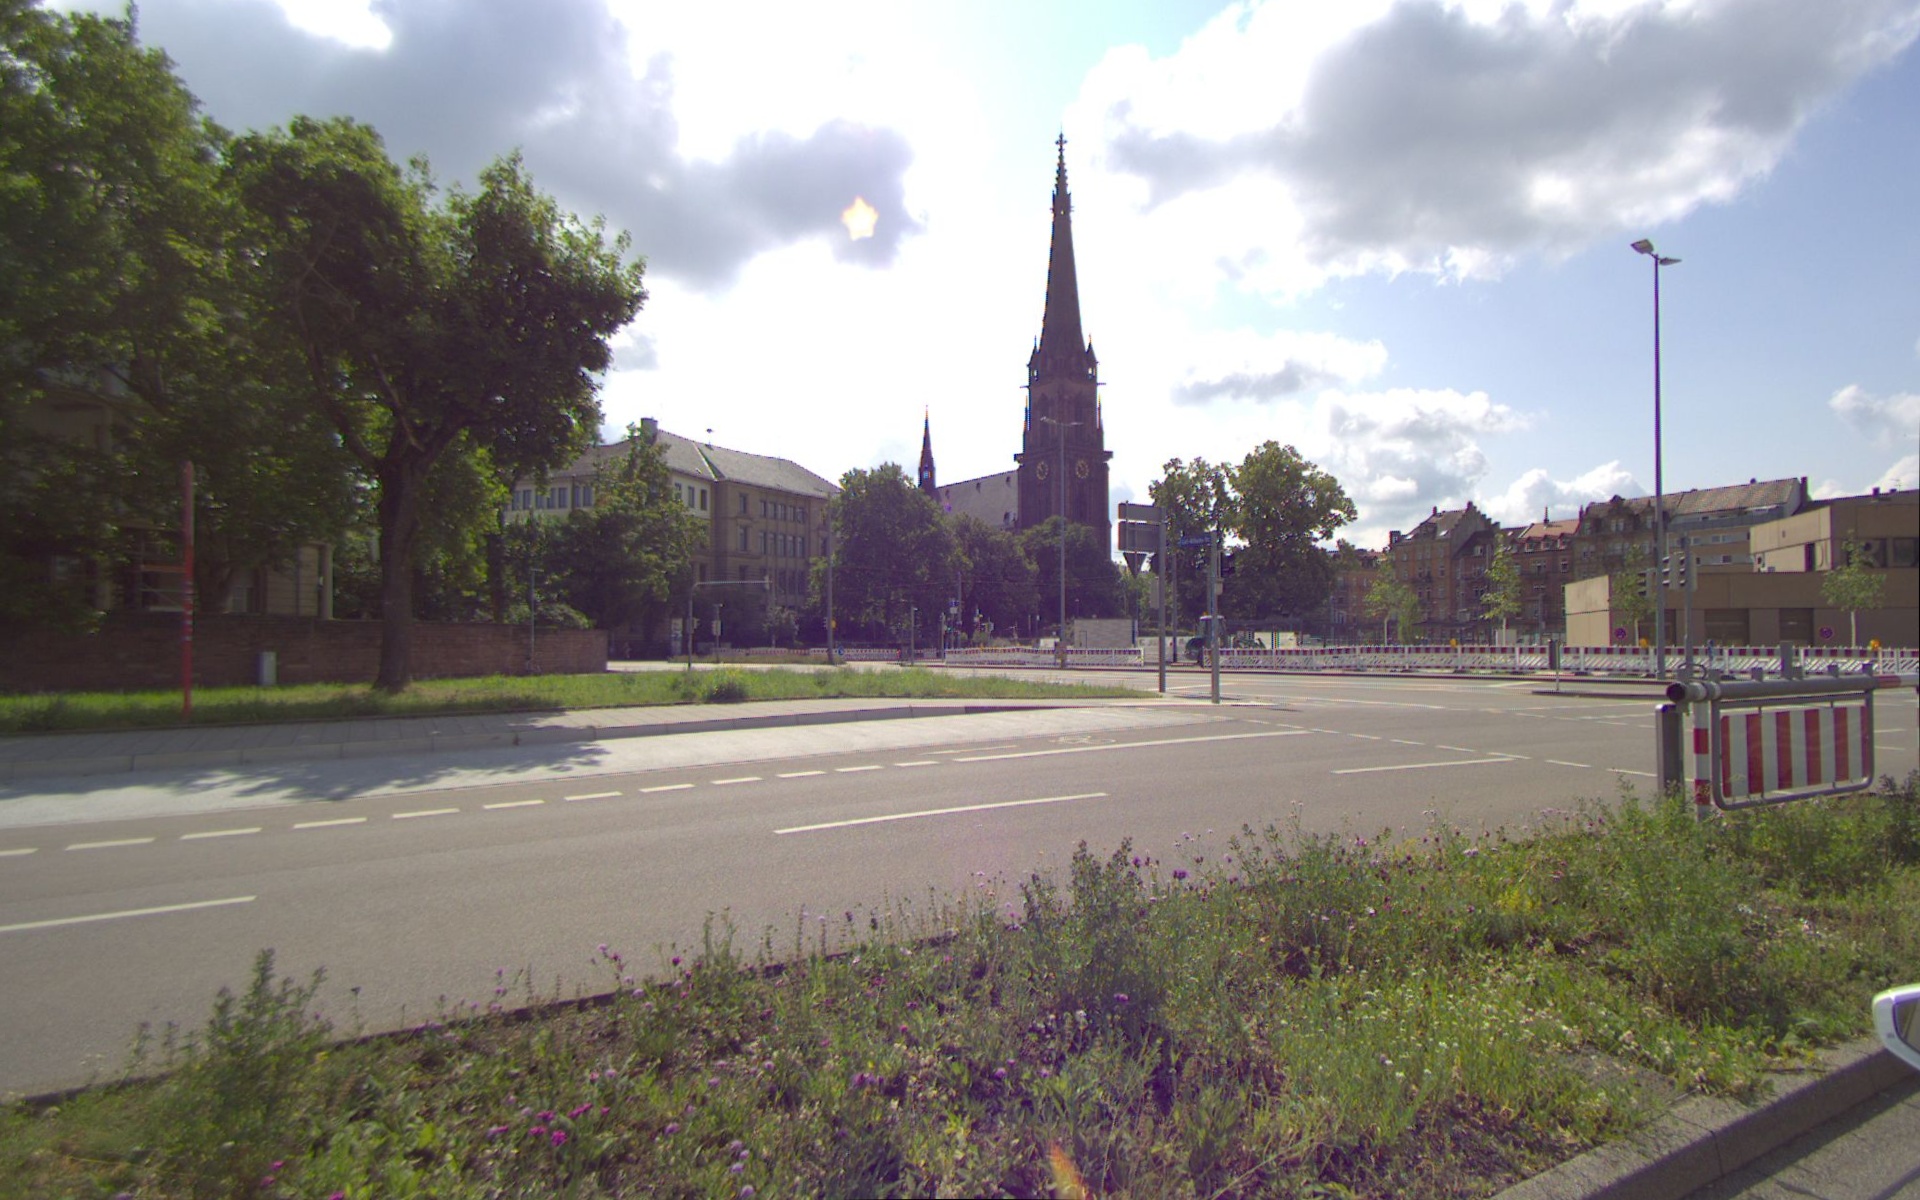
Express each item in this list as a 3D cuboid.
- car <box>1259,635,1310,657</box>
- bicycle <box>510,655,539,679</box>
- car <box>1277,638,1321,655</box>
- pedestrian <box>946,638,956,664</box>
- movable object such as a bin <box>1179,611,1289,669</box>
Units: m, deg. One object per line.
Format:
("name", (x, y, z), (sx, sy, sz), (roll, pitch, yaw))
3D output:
("car", (28.087, 3.947, 86.900), (4.098, 1.906, 1.803), (-1, -2, 20))
("bicycle", (-18.739, 2.880, 43.256), (0.386, 1.005, 1.524), (0, -2, 10))
("car", (36.789, 5.010, 109.168), (4.293, 1.817, 1.781), (-1, -2, 29))
("pedestrian", (-0.650, 3.600, 71.212), (0.492, 1.874, 0.526), (1, -2, -25))
("movable object such as a bin", (14.228, 2.100, 52.493), (5.430, 2.922, 2.290), (0, -2, 12))
